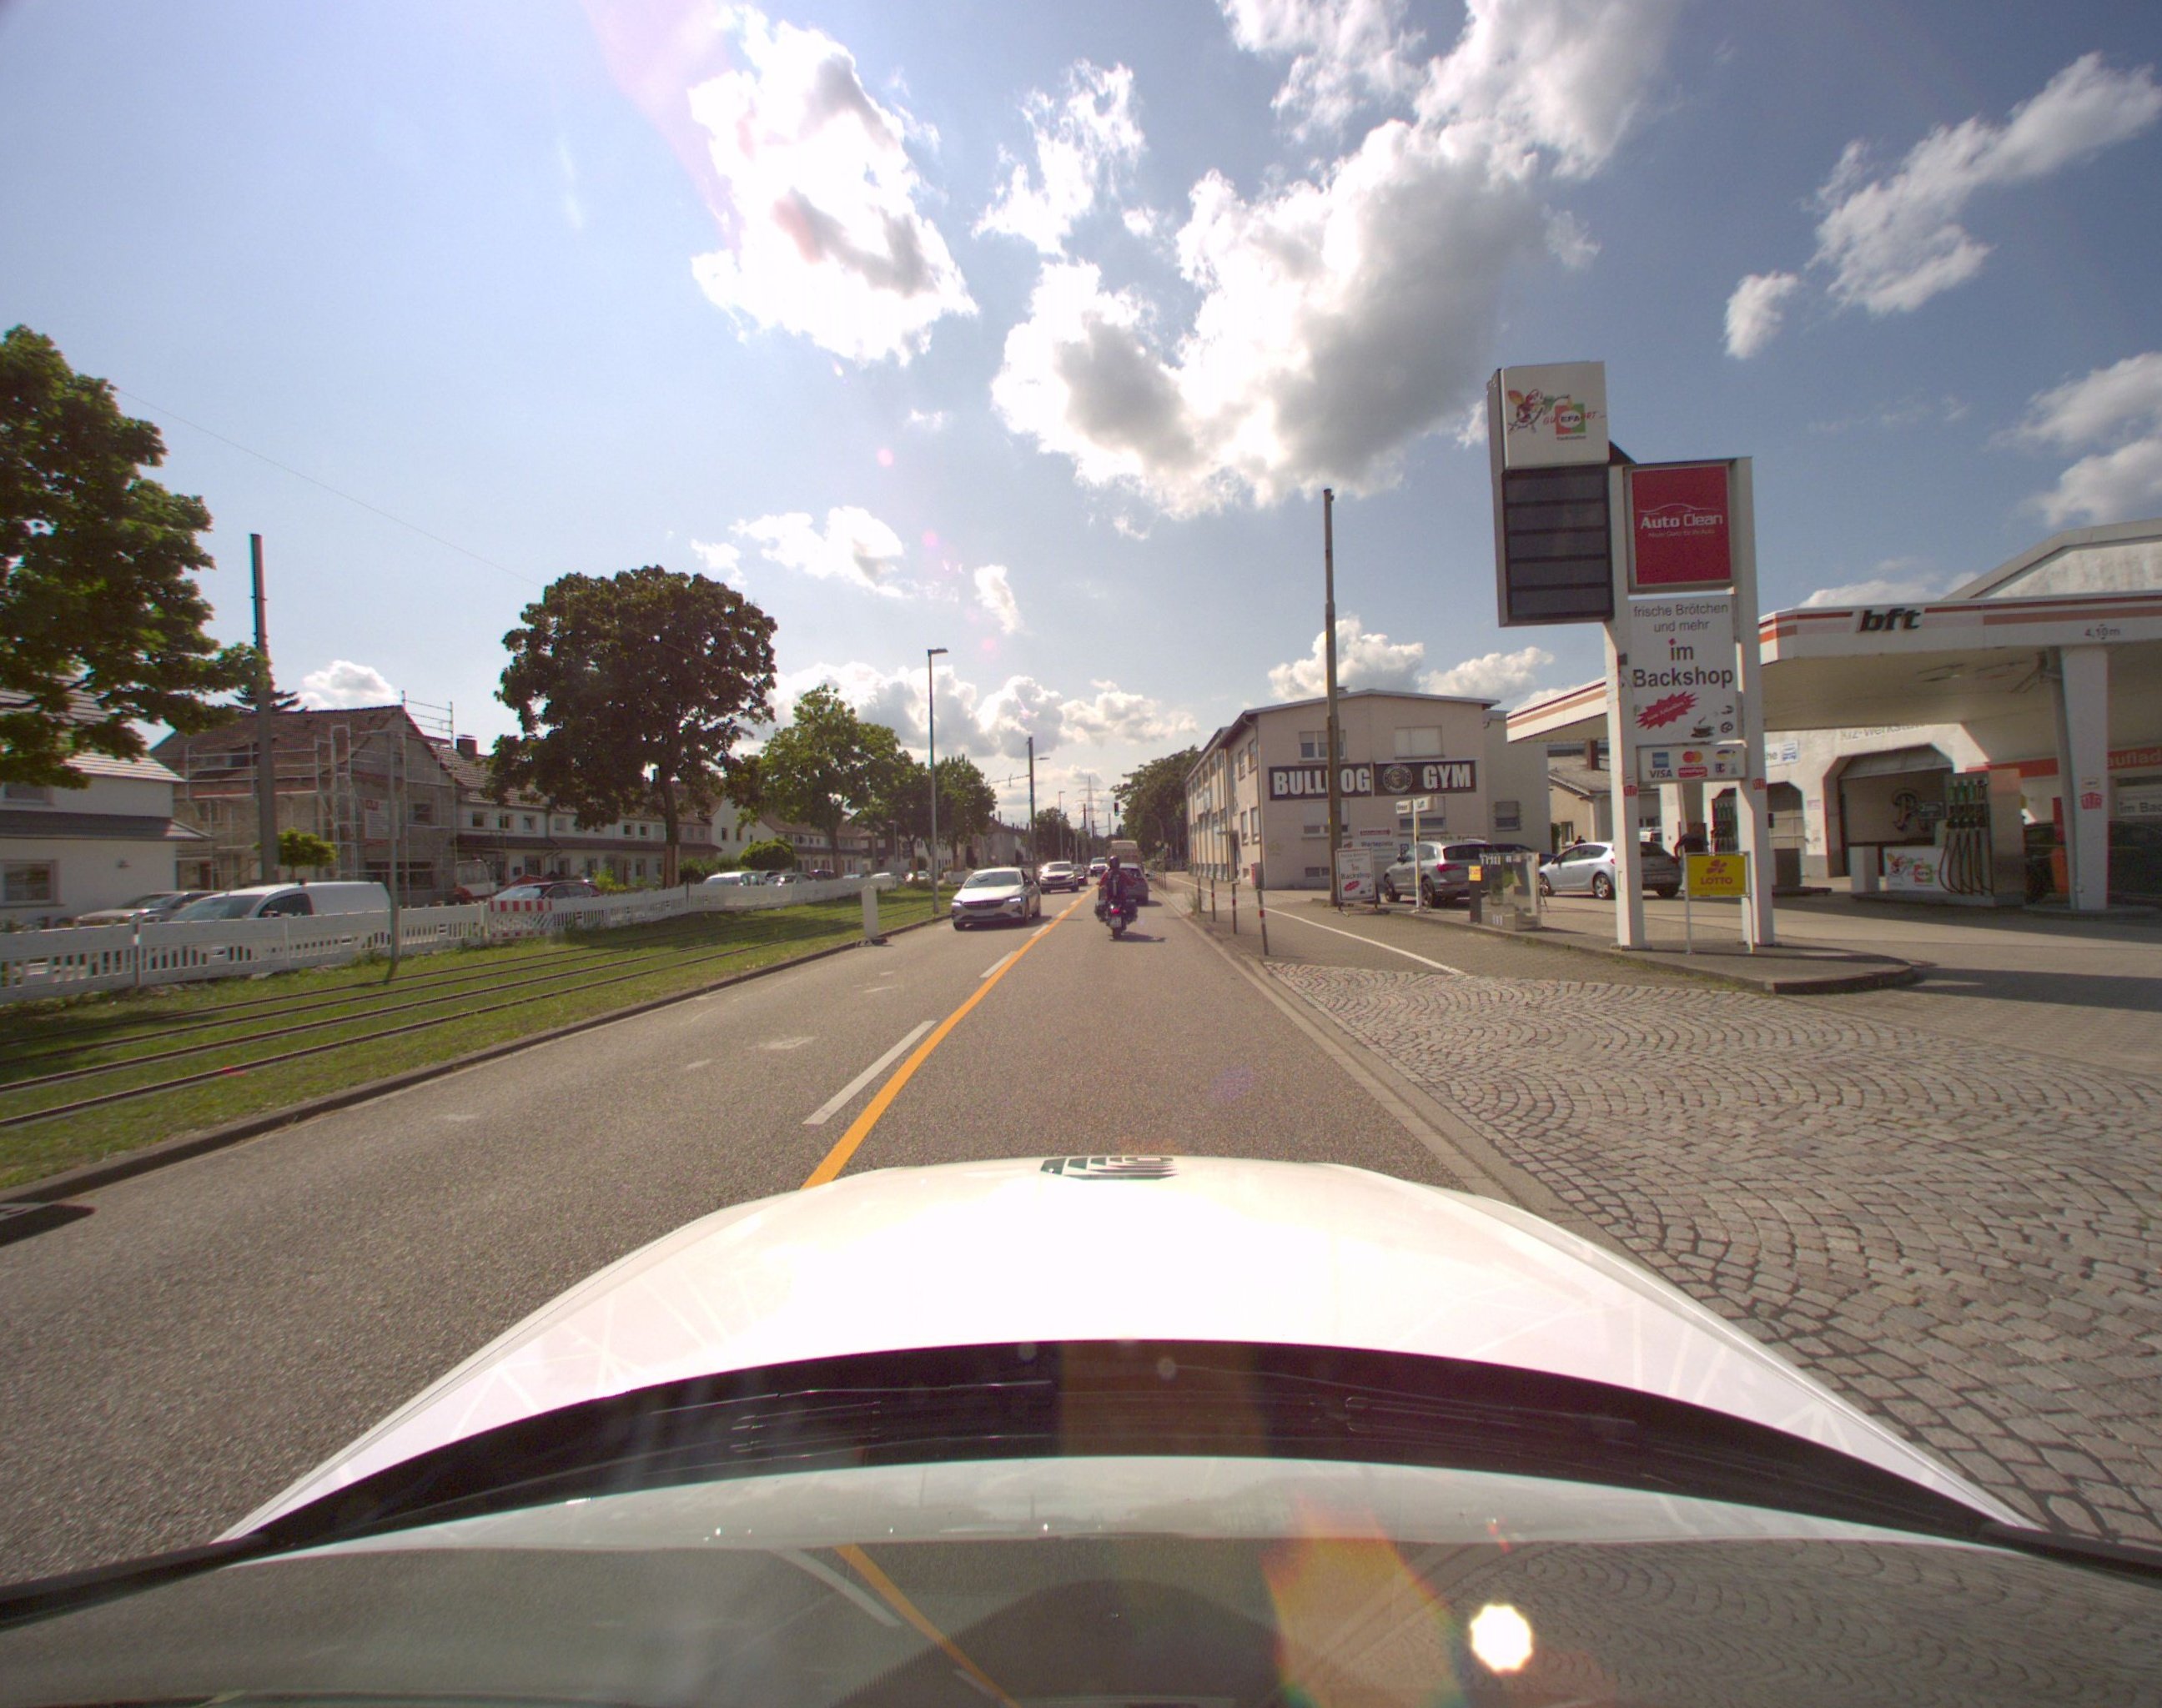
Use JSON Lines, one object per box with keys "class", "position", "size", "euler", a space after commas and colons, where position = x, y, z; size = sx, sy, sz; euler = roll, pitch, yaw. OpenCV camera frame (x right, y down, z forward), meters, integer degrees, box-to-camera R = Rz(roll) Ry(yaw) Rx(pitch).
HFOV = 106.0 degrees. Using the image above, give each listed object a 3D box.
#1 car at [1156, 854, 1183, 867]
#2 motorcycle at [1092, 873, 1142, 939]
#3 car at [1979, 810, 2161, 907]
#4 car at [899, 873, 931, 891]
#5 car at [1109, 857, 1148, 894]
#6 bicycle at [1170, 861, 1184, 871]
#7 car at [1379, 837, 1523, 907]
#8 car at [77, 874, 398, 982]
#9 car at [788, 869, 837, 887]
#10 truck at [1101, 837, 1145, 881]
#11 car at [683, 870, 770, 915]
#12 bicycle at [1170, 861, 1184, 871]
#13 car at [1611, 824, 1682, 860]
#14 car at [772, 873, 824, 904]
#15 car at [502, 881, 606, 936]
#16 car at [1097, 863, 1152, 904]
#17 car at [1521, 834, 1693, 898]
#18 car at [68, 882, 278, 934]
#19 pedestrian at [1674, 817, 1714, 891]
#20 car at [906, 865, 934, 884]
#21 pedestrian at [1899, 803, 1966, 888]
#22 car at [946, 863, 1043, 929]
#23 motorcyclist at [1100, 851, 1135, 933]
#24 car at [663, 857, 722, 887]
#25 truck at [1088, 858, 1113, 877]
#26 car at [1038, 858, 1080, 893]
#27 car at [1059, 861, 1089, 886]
{"class": "car", "position": [13.209, 1.017, 121.084], "size": [4.021, 1.926, 1.781], "euler": [1, -2, -42]}
{"class": "motorcycle", "position": [0.748, 1.016, 16.692], "size": [0.939, 1.200, 2.474], "euler": [0, 0, 3]}
{"class": "car", "position": [18.074, 0.043, 13.439], "size": [1.675, 1.519, 4.497], "euler": [-3, 1, 3]}
{"class": "car", "position": [-12.682, 2.118, 62.299], "size": [1.515, 1.354, 3.624], "euler": [0, -1, 3]}
{"class": "car", "position": [2.577, 1.113, 43.593], "size": [1.892, 1.712, 4.725], "euler": [-2, 1, 4]}
{"class": "bicycle", "position": [11.947, 1.480, 100.975], "size": [1.698, 1.172, 0.439], "euler": [0, -1, 8]}
{"class": "car", "position": [9.487, 0.445, 21.342], "size": [1.937, 1.625, 4.621], "euler": [-1, -1, 4]}
{"class": "car", "position": [-15.299, 1.241, 15.141], "size": [1.646, 1.626, 4.003], "euler": [-3, -1, 3]}
{"class": "car", "position": [-25.390, 2.288, 77.100], "size": [3.971, 1.510, 1.726], "euler": [-2, -1, 1]}
{"class": "truck", "position": [3.329, 0.423, 62.565], "size": [2.953, 3.173, 7.776], "euler": [0, -1, 6]}
{"class": "car", "position": [-14.378, 1.503, 33.259], "size": [1.616, 1.651, 3.902], "euler": [-3, -1, 3]}
{"class": "bicycle", "position": [12.024, 1.488, 101.626], "size": [1.698, 1.172, 0.439], "euler": [0, -1, 8]}
{"class": "car", "position": [34.317, -0.694, 49.568], "size": [1.779, 2.032, 3.847], "euler": [0, -1, 3]}
{"class": "car", "position": [-14.098, 1.708, 40.722], "size": [1.344, 1.377, 3.116], "euler": [-3, -1, 3]}
{"class": "car", "position": [-14.616, 1.485, 22.697], "size": [1.067, 1.348, 2.453], "euler": [-3, -1, 7]}
{"class": "car", "position": [1.530, 1.022, 29.995], "size": [1.726, 1.404, 4.084], "euler": [0, -1, -1]}
{"class": "car", "position": [13.821, 0.334, 21.766], "size": [1.686, 1.471, 4.423], "euler": [-3, -1, 0]}
{"class": "car", "position": [-27.022, 1.550, 24.458], "size": [1.527, 1.275, 4.123], "euler": [-3, -1, 3]}
{"class": "pedestrian", "position": [14.906, 0.010, 19.818], "size": [0.495, 1.777, 0.577], "euler": [0, -1, 0]}
{"class": "car", "position": [-13.329, 1.688, 67.469], "size": [1.537, 1.376, 4.248], "euler": [-5, 0, -2]}
{"class": "pedestrian", "position": [17.544, -0.170, 16.793], "size": [0.614, 1.722, 0.687], "euler": [0, -1, 3]}
{"class": "car", "position": [-2.133, 1.024, 21.213], "size": [1.814, 1.445, 4.485], "euler": [-3, -1, 2]}
{"class": "motorcyclist", "position": [0.736, 0.752, 16.339], "size": [0.695, 1.604, 0.692], "euler": [0, -1, 3]}
{"class": "car", "position": [-26.712, 1.243, 56.110], "size": [1.985, 2.014, 4.002], "euler": [0, -1, 2]}
{"class": "truck", "position": [2.035, 1.348, 83.272], "size": [1.809, 1.909, 5.129], "euler": [0, 0, 9]}
{"class": "car", "position": [-1.106, 1.120, 42.942], "size": [1.817, 1.666, 4.465], "euler": [-3, -1, 3]}
{"class": "car", "position": [-0.451, 1.308, 55.036], "size": [1.686, 1.412, 3.861], "euler": [-6, -1, 2]}
